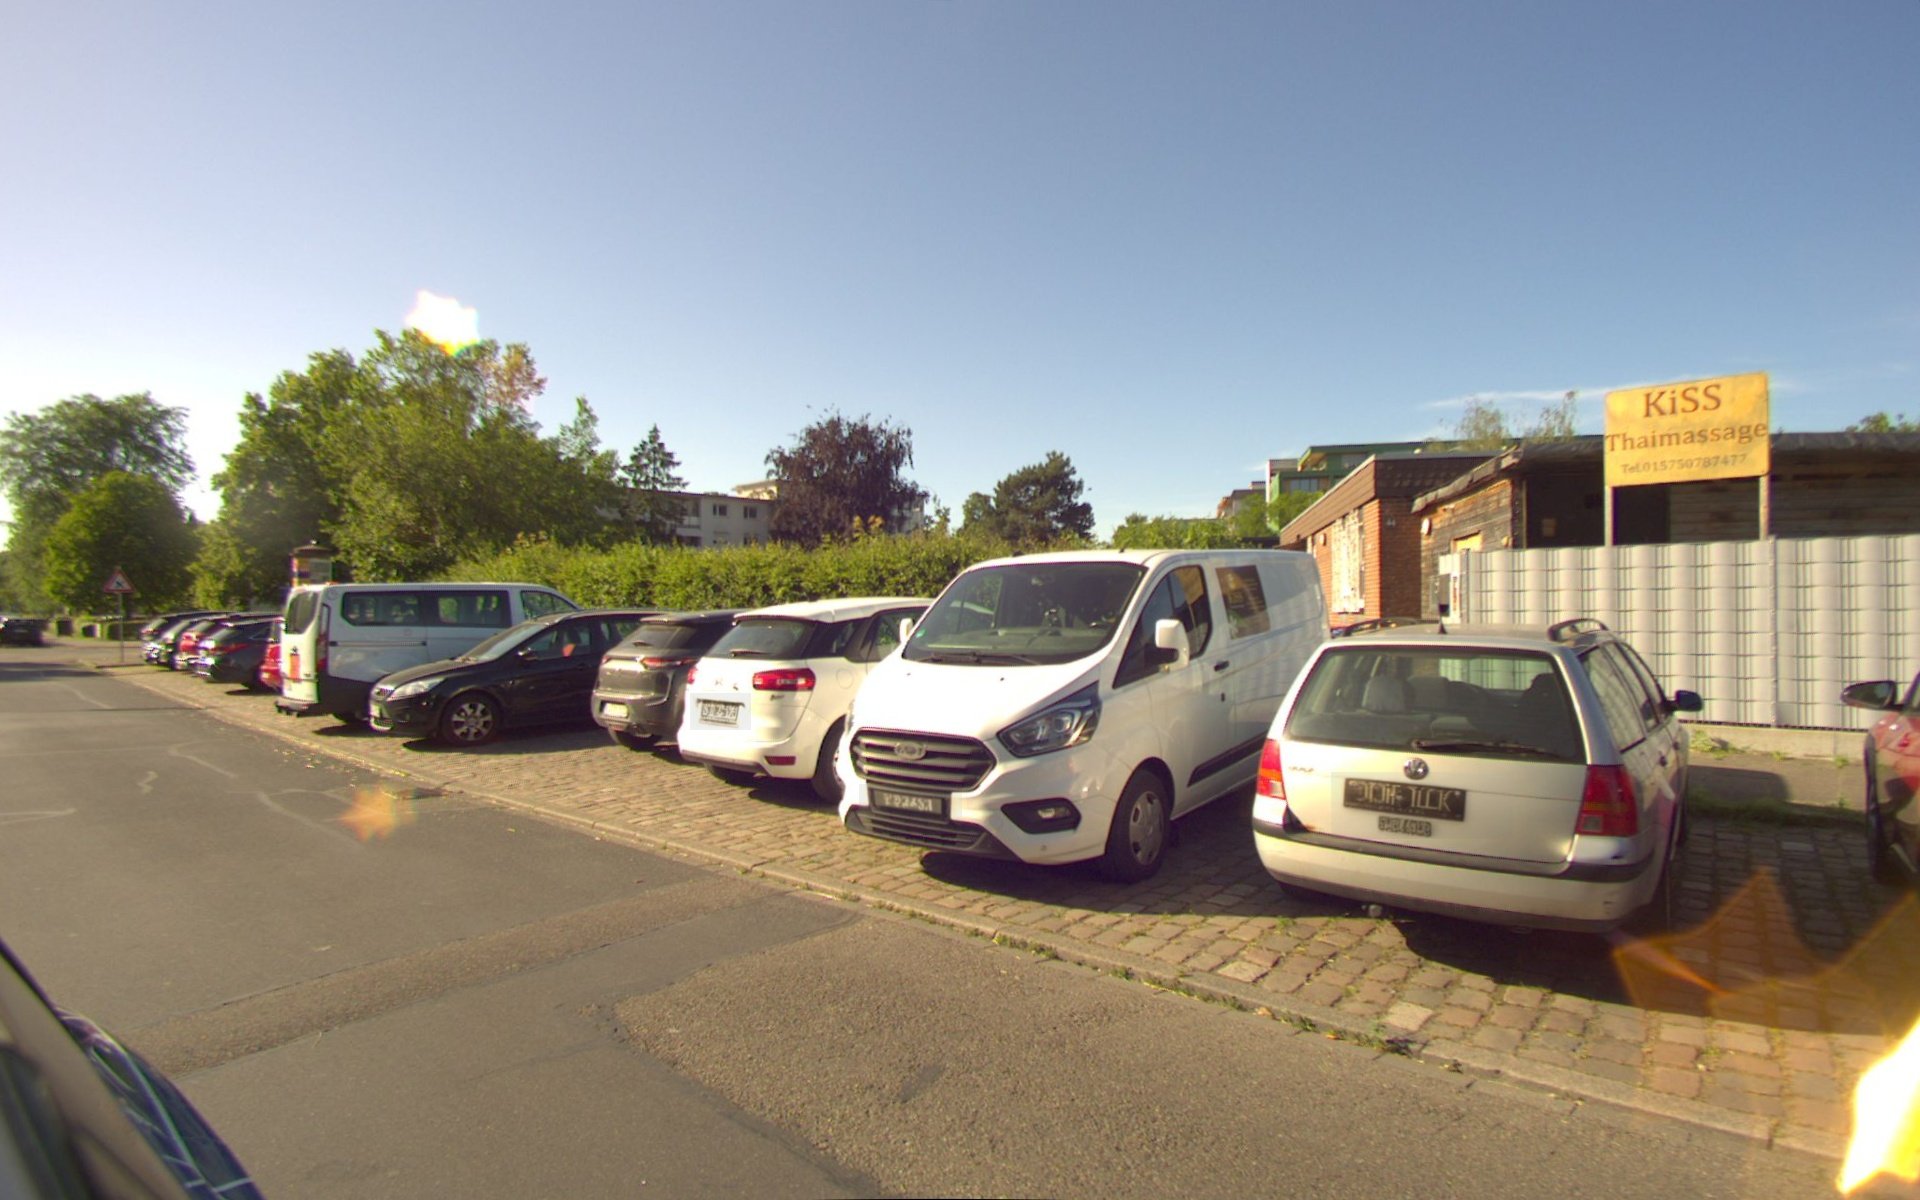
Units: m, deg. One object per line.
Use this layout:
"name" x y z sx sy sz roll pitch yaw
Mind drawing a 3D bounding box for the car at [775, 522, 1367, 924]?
"car" 1.170 0.497 7.368 2.079 1.935 4.743 0 2 38

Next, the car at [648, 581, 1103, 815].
"car" -0.611 0.684 9.408 1.884 1.594 3.943 0 2 44

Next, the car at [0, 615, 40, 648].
"car" -48.584 1.585 51.951 4.425 1.586 1.760 -1 0 45

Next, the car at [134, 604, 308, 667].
"car" -23.417 1.069 32.171 1.846 1.668 4.142 0 2 42

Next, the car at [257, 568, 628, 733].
"car" -7.472 0.578 14.967 2.000 1.991 4.430 0 2 43

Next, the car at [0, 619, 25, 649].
"car" -55.888 1.944 58.999 3.650 1.695 1.792 -1 -3 45

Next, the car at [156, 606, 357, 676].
"car" -18.367 1.000 26.527 1.906 1.524 3.976 0 2 42

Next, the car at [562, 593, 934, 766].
"car" -2.286 0.741 11.543 1.884 1.498 3.726 0 2 44

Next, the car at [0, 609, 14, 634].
"car" -76.555 1.729 80.529 3.814 1.968 1.708 -1 -3 45

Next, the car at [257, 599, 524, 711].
"car" -9.670 0.855 17.336 1.853 1.579 3.562 -2 1 44

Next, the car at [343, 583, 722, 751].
"car" -5.407 0.701 13.098 4.101 1.718 1.886 -3 2 -42

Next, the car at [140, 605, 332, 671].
"car" -20.092 0.997 28.207 1.812 1.524 4.049 0 2 42

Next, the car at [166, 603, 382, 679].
"car" -16.248 0.921 24.093 1.791 1.490 3.943 -2 1 44

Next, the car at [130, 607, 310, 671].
"car" -21.578 1.068 29.600 1.832 1.544 3.944 0 2 42

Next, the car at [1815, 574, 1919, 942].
"car" 4.834 0.637 4.062 1.632 1.500 3.486 -3 0 33

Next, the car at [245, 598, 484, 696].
"car" -11.406 0.830 19.504 1.882 1.579 3.562 -2 1 44

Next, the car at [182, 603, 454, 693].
"car" -13.329 0.920 21.224 1.748 1.490 4.493 -2 1 44

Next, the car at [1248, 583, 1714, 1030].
"car" 2.943 0.694 5.392 1.633 1.457 3.483 0 2 35

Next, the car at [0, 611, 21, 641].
"car" -65.466 1.782 69.044 1.883 1.956 4.513 3 -3 -44
